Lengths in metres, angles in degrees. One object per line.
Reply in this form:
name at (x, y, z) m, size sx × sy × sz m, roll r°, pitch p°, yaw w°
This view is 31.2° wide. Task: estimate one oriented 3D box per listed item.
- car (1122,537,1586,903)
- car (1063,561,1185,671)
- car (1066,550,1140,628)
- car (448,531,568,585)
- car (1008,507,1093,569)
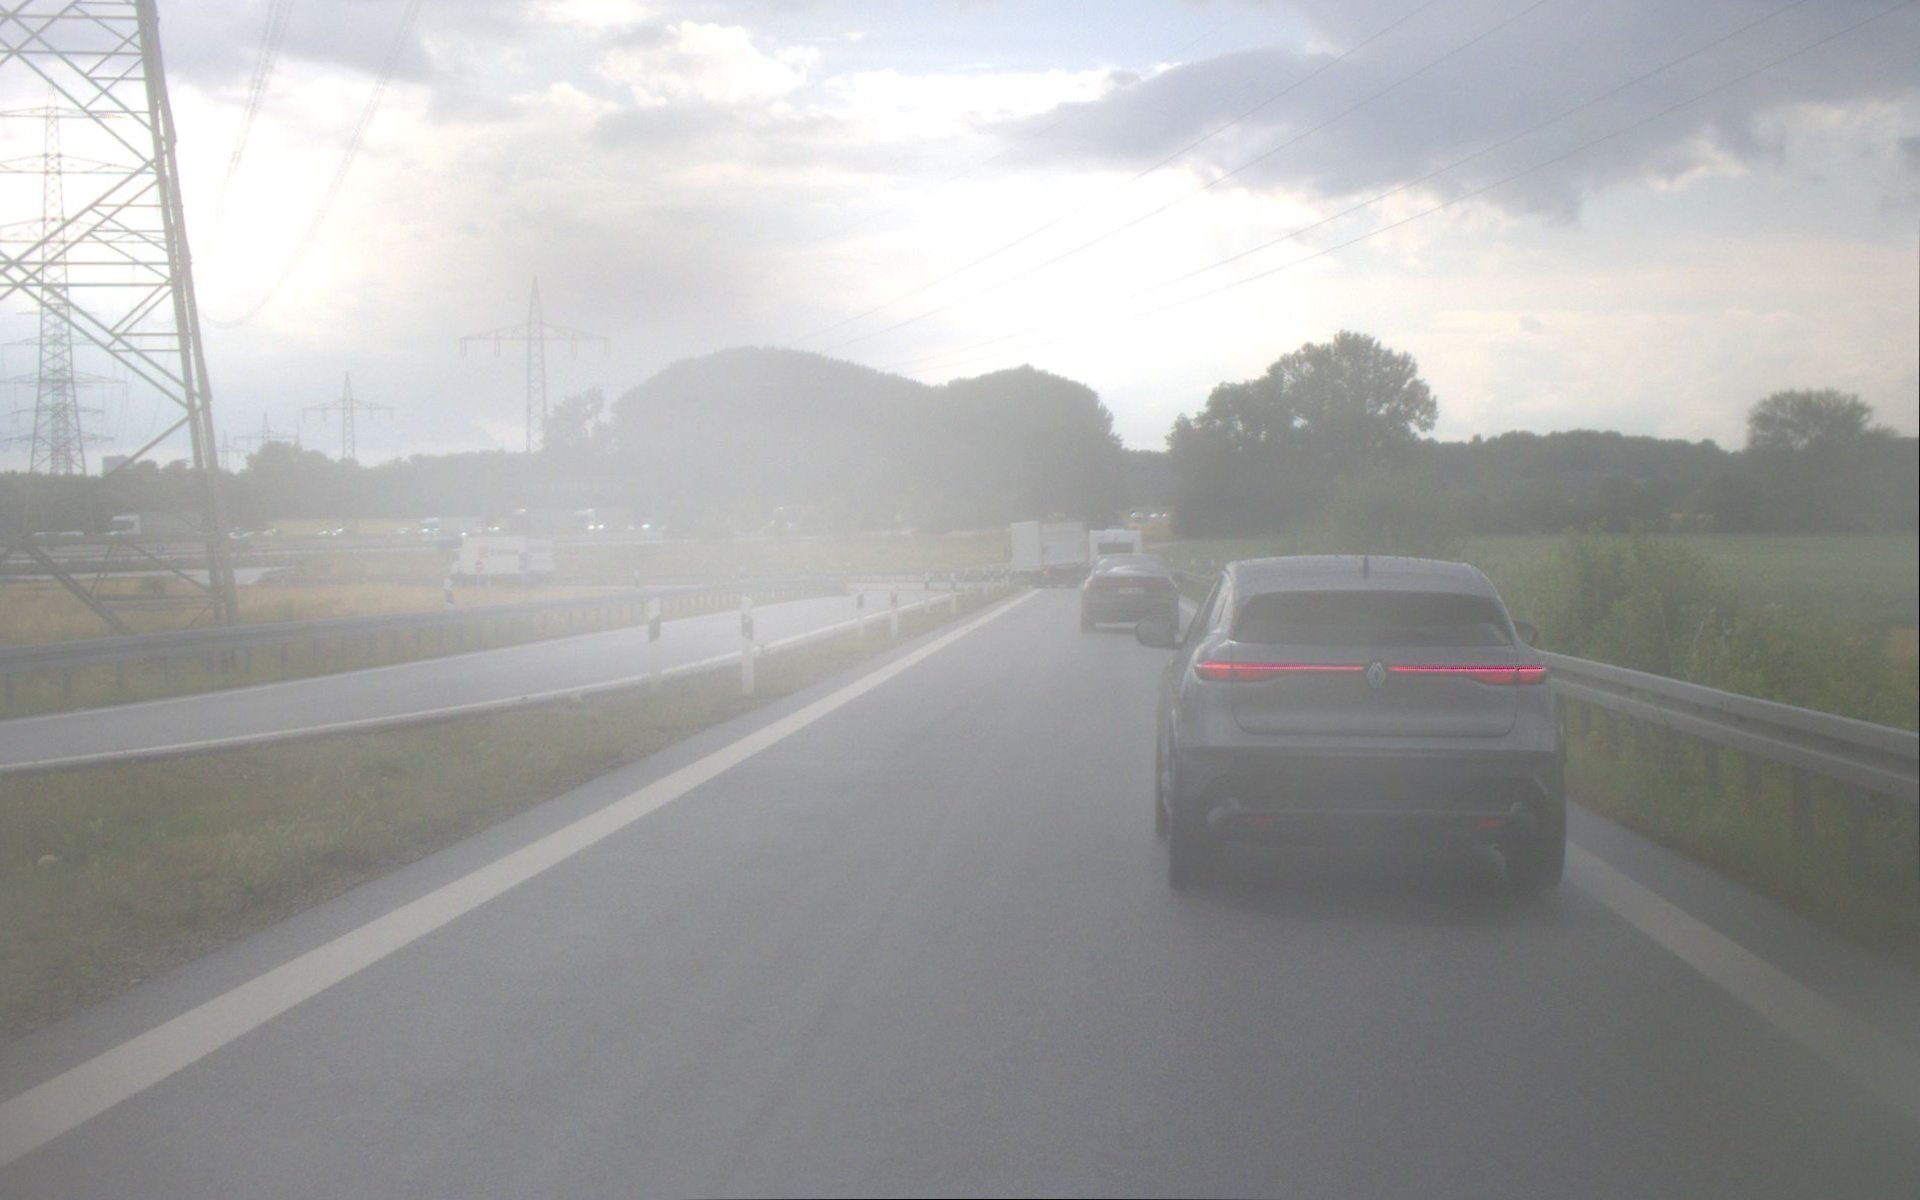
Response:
car at (1.901, 0.484, 17.156) m, size 1.994 × 1.561 × 4.148 m, roll 1°, pitch 1°, yaw 5°
car at (3.199, 0.273, 67.946) m, size 2.121 × 2.011 × 5.535 m, roll -1°, pitch 1°, yaw 0°
car at (4.654, -0.391, 112.376) m, size 2.351 × 2.299 × 5.129 m, roll 0°, pitch 3°, yaw 2°
car at (-31.137, -2.905, 236.473) m, size 9.039 × 3.598 × 3.385 m, roll 1°, pitch 1°, yaw 45°
car at (4.713, -3.288, 180.258) m, size 3.135 × 2.941 × 7.212 m, roll -1°, pitch 3°, yaw -9°
